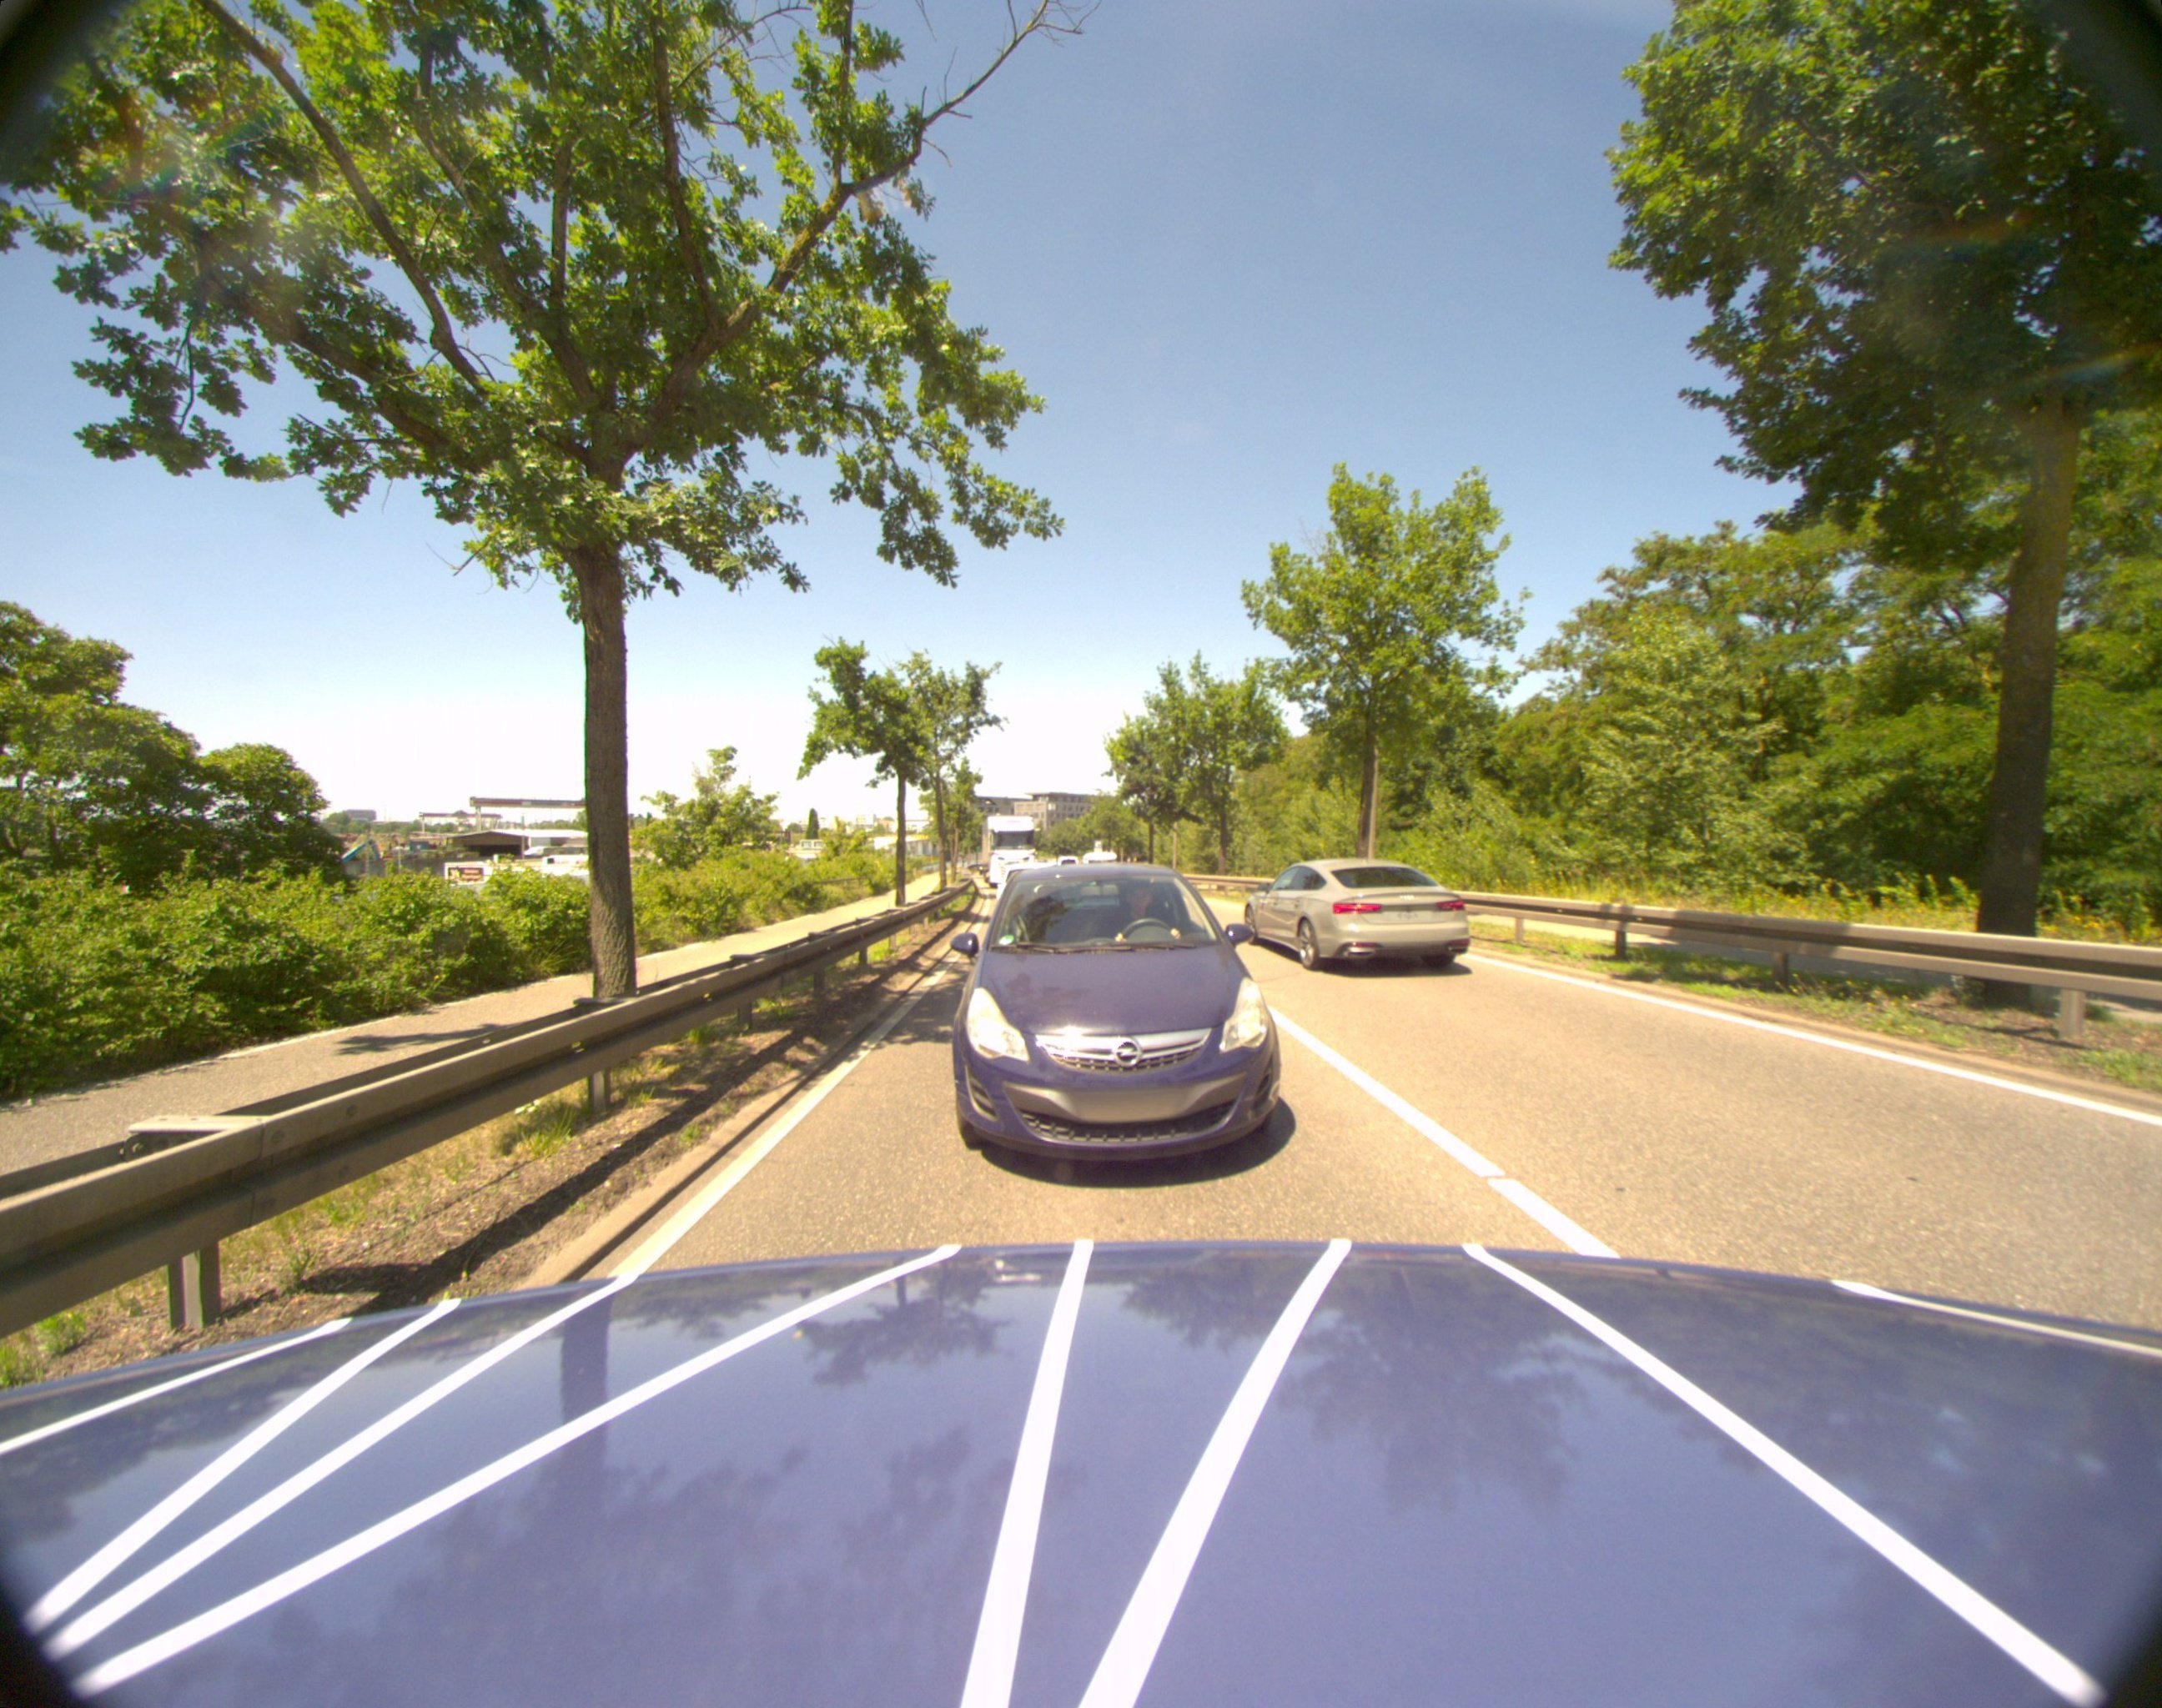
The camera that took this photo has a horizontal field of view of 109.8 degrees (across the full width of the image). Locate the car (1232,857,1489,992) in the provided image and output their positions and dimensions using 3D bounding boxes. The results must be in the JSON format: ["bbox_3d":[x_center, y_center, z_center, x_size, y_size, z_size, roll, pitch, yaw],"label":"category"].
[{"bbox_3d":[3.546,0.792,10.620,1.764,1.388,4.404,-2,0,-3],"label":"car"}]

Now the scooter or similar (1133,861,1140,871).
[{"bbox_3d":[6.319,1.405,86.026,0.778,1.085,1.095,-2,1,4],"label":"scooter or similar"}]

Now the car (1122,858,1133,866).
[{"bbox_3d":[8.904,1.527,146.522,1.873,1.594,4.394,-2,0,2],"label":"car"}]

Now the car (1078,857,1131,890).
[{"bbox_3d":[1.077,0.892,37.052,1.825,1.413,4.463,-2,0,-8],"label":"car"}]

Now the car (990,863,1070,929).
[{"bbox_3d":[-1.300,0.982,19.413,1.781,1.398,3.998,-2,0,-4],"label":"car"}]

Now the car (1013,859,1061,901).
[{"bbox_3d":[-1.931,1.070,32.592,1.781,1.569,3.997,-2,0,-6],"label":"car"}]

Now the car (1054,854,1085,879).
[{"bbox_3d":[-0.931,0.900,56.942,1.751,1.753,4.385,-2,0,-8],"label":"car"}]

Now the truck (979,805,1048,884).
[{"bbox_3d":[-4.710,-0.522,49.050,3.073,4.146,16.896,-2,0,-9],"label":"truck"}]

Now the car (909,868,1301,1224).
[{"bbox_3d":[0.092,0.901,5.347,1.720,1.455,3.837,-2,0,-1],"label":"car"}]

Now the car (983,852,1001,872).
[{"bbox_3d":[-9.256,0.815,78.798,1.781,2.002,3.997,-2,0,-8],"label":"car"}]

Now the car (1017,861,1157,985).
[{"bbox_3d":[0.077,0.922,11.907,1.780,1.498,3.896,-2,0,0],"label":"car"}]

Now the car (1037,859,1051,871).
[{"bbox_3d":[-7.058,2.032,143.845,1.779,2.002,4.002,-2,0,9],"label":"car"}]

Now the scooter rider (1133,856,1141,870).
[{"bbox_3d":[6.298,1.014,85.986,0.778,1.648,1.121,-2,1,6],"label":"scooter rider"}]

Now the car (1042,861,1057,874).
[{"bbox_3d":[-3.840,1.636,92.902,1.561,1.364,3.886,-2,0,-5],"label":"car"}]
